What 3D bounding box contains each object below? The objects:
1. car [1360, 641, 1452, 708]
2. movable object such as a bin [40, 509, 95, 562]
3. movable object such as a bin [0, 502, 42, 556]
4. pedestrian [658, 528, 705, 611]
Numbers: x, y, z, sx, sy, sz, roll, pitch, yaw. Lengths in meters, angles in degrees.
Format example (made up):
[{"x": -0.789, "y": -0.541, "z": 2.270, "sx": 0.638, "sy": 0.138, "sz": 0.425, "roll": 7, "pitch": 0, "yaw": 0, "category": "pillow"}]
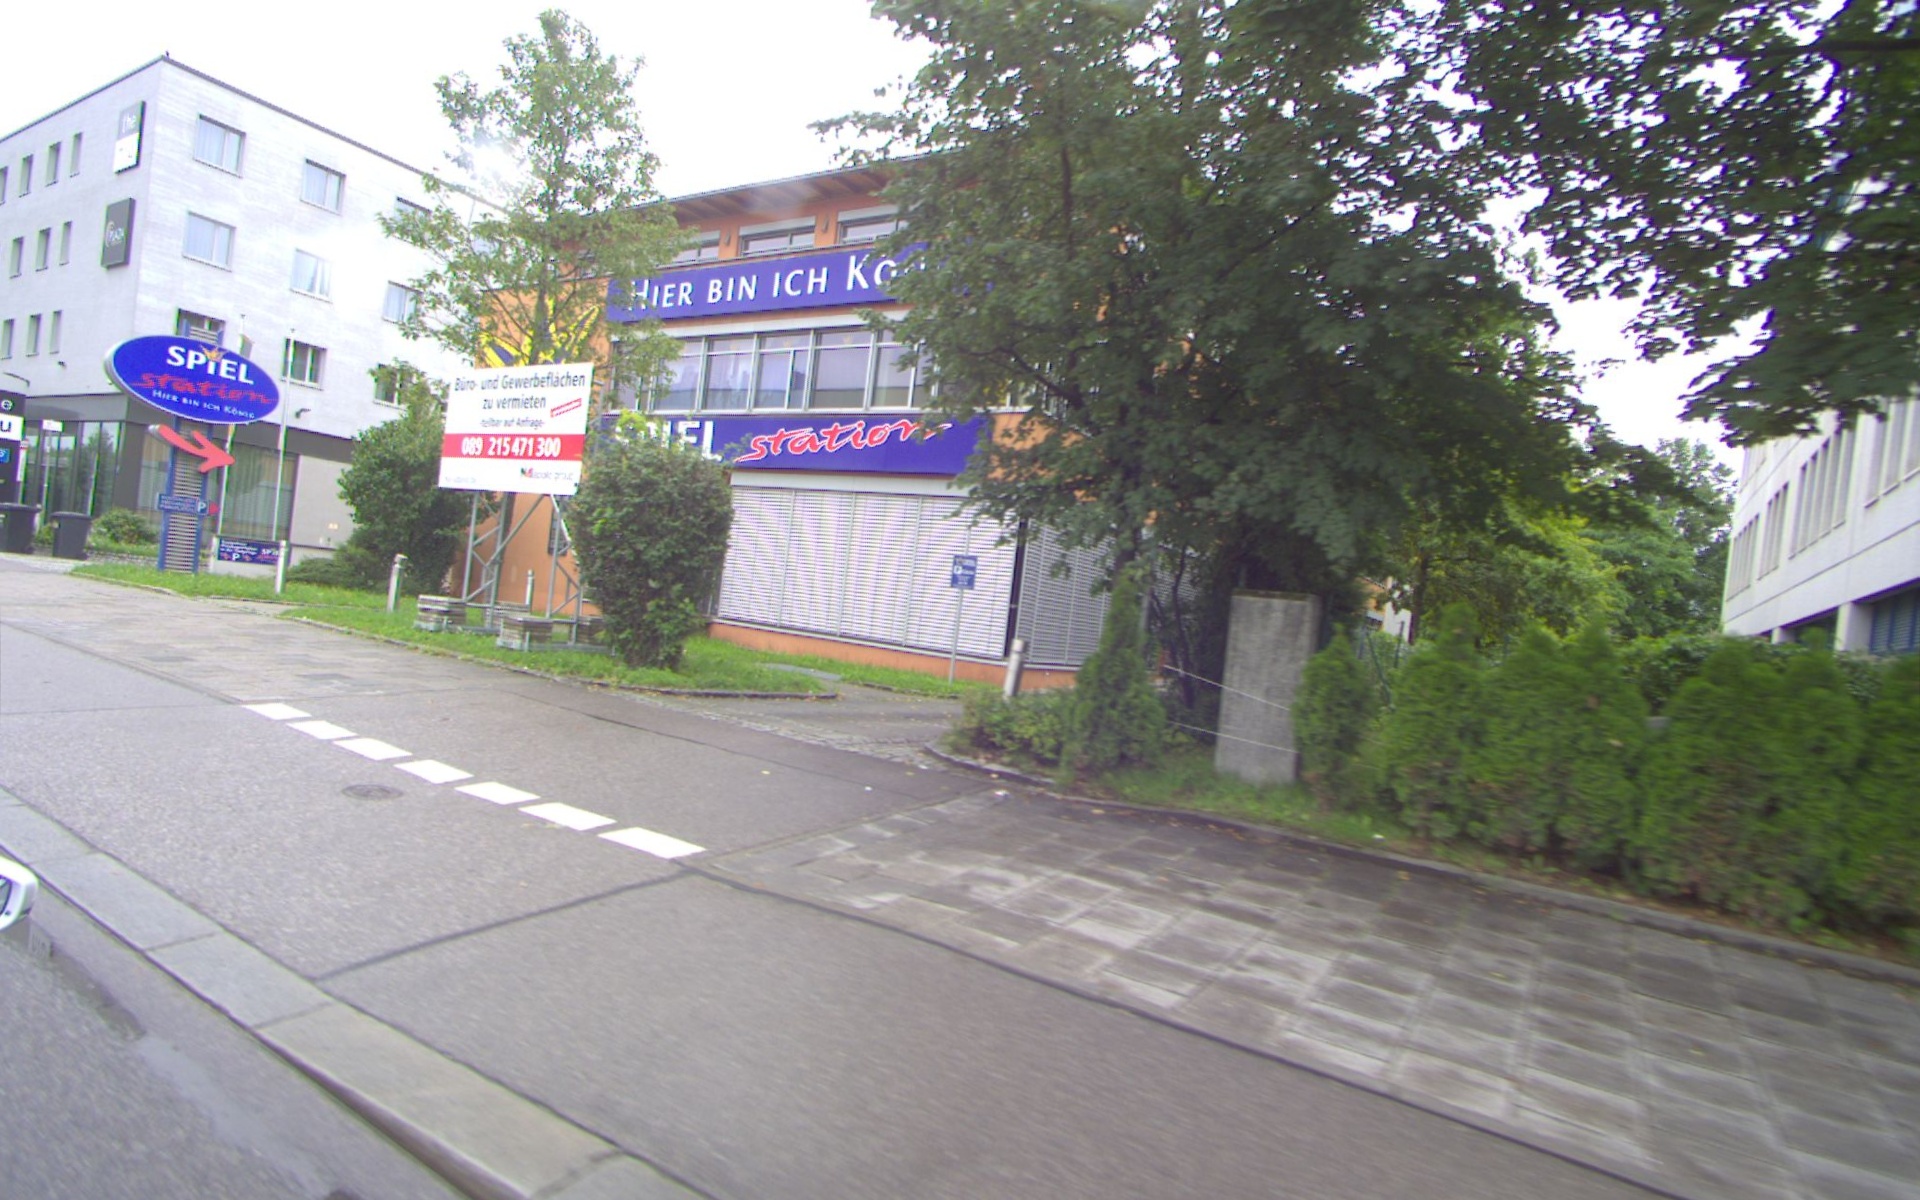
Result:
[{"x": 12.229, "y": 2.002, "z": 27.442, "sx": 1.738, "sy": 1.503, "sz": 3.885, "roll": 7, "pitch": 1, "yaw": 30, "category": "car"}, {"x": -20.380, "y": -1.477, "z": 22.980, "sx": 0.645, "sy": 1.092, "sz": 0.737, "roll": 7, "pitch": 1, "yaw": 33, "category": "movable object such as a bin"}, {"x": -20.761, "y": -1.571, "z": 22.069, "sx": 0.645, "sy": 1.092, "sz": 0.737, "roll": 7, "pitch": 1, "yaw": 33, "category": "movable object such as a bin"}, {"x": -6.093, "y": -0.656, "z": 22.001, "sx": 0.648, "sy": 1.734, "sz": 0.662, "roll": 6, "pitch": 1, "yaw": 5, "category": "pedestrian"}]
